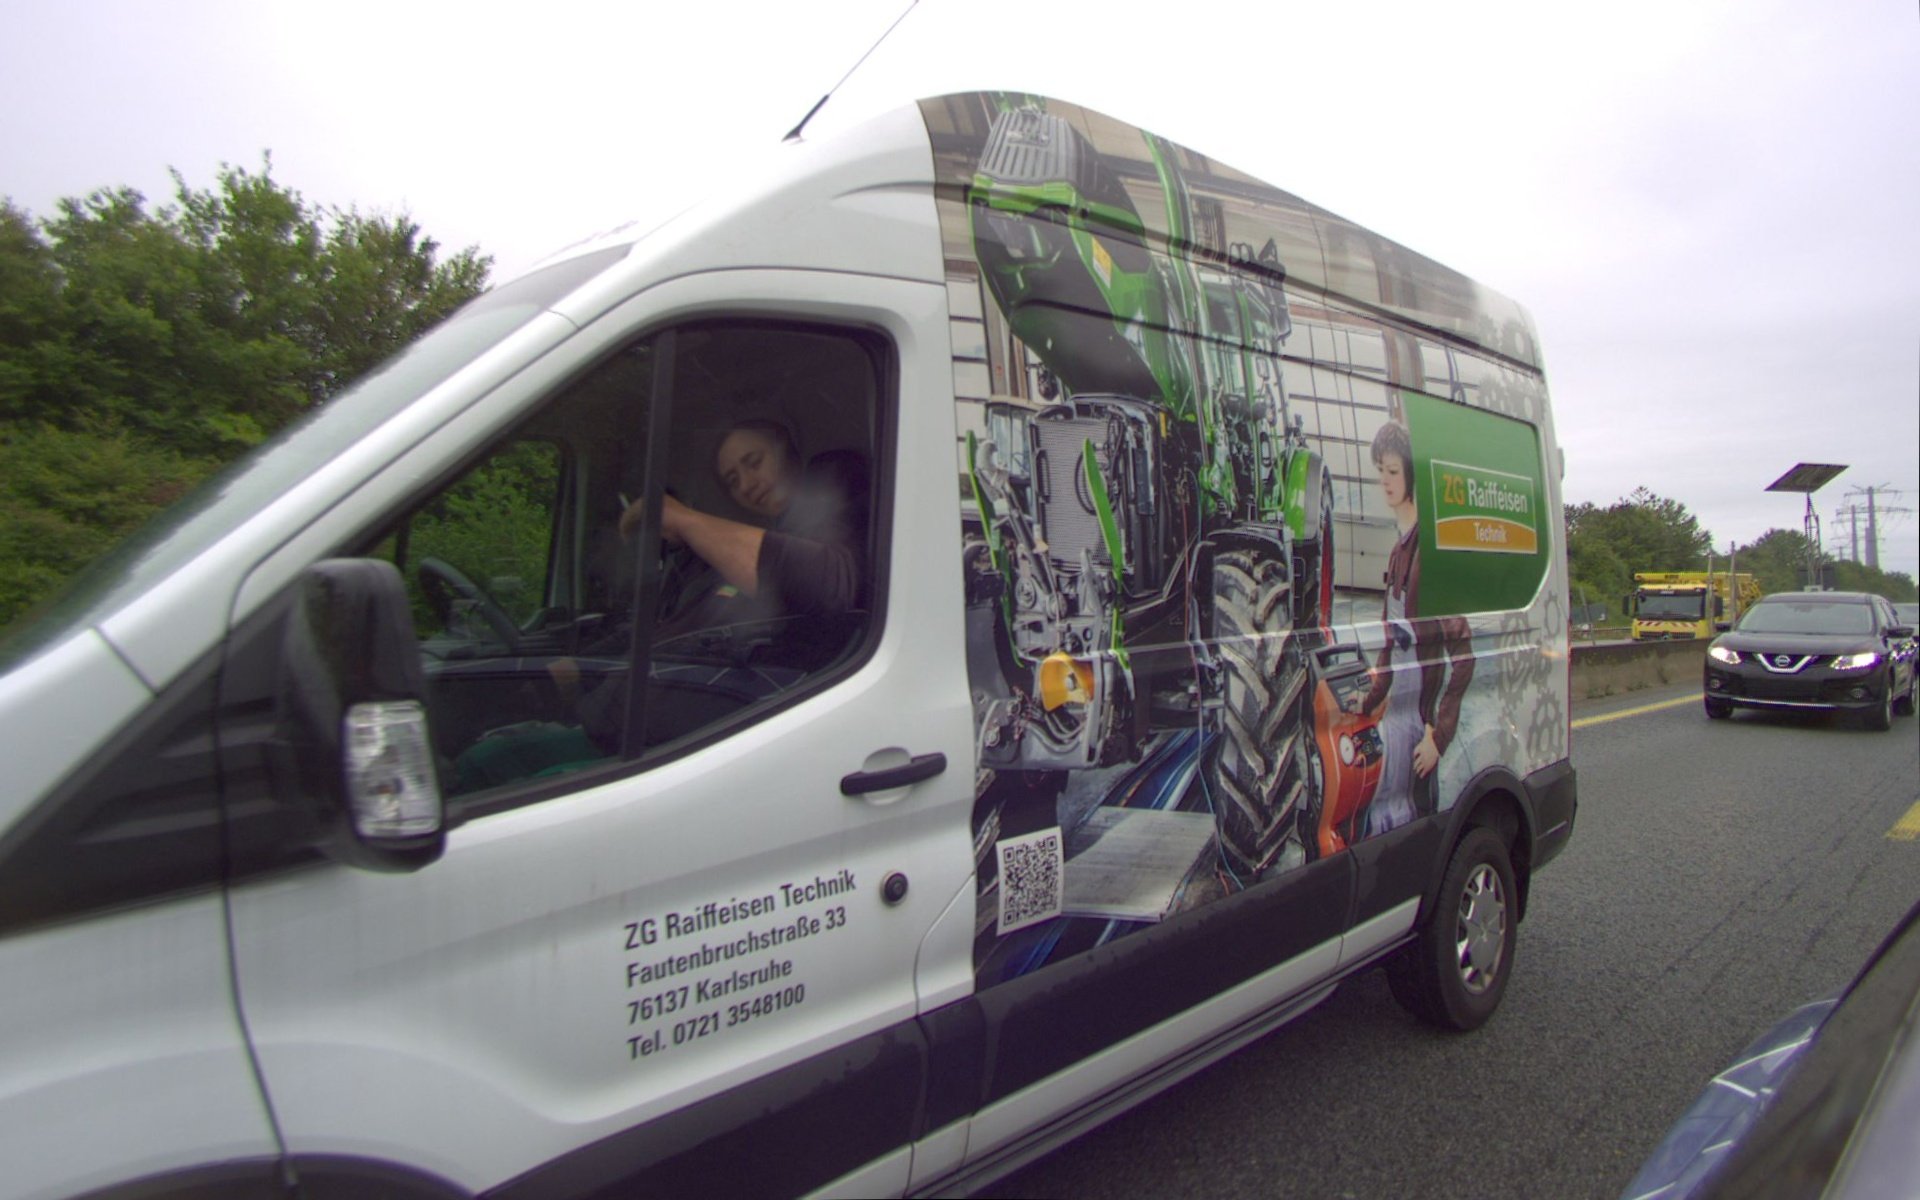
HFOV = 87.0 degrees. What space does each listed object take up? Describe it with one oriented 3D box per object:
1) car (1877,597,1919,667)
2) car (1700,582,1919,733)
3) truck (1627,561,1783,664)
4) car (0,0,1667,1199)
[{"bbox_3d":[22.689,0.697,23.428,4.053,1.509,1.782,0,0,-42],"label":"car"},{"bbox_3d":[11.612,0.620,13.560,4.562,1.696,1.892,0,0,-42],"label":"car"},{"bbox_3d":[28.155,0.373,38.023,9.406,3.467,2.618,0,0,-40],"label":"truck"},{"bbox_3d":[0.031,0.020,3.200,6.009,2.709,2.148,0,0,-40],"label":"car"}]
